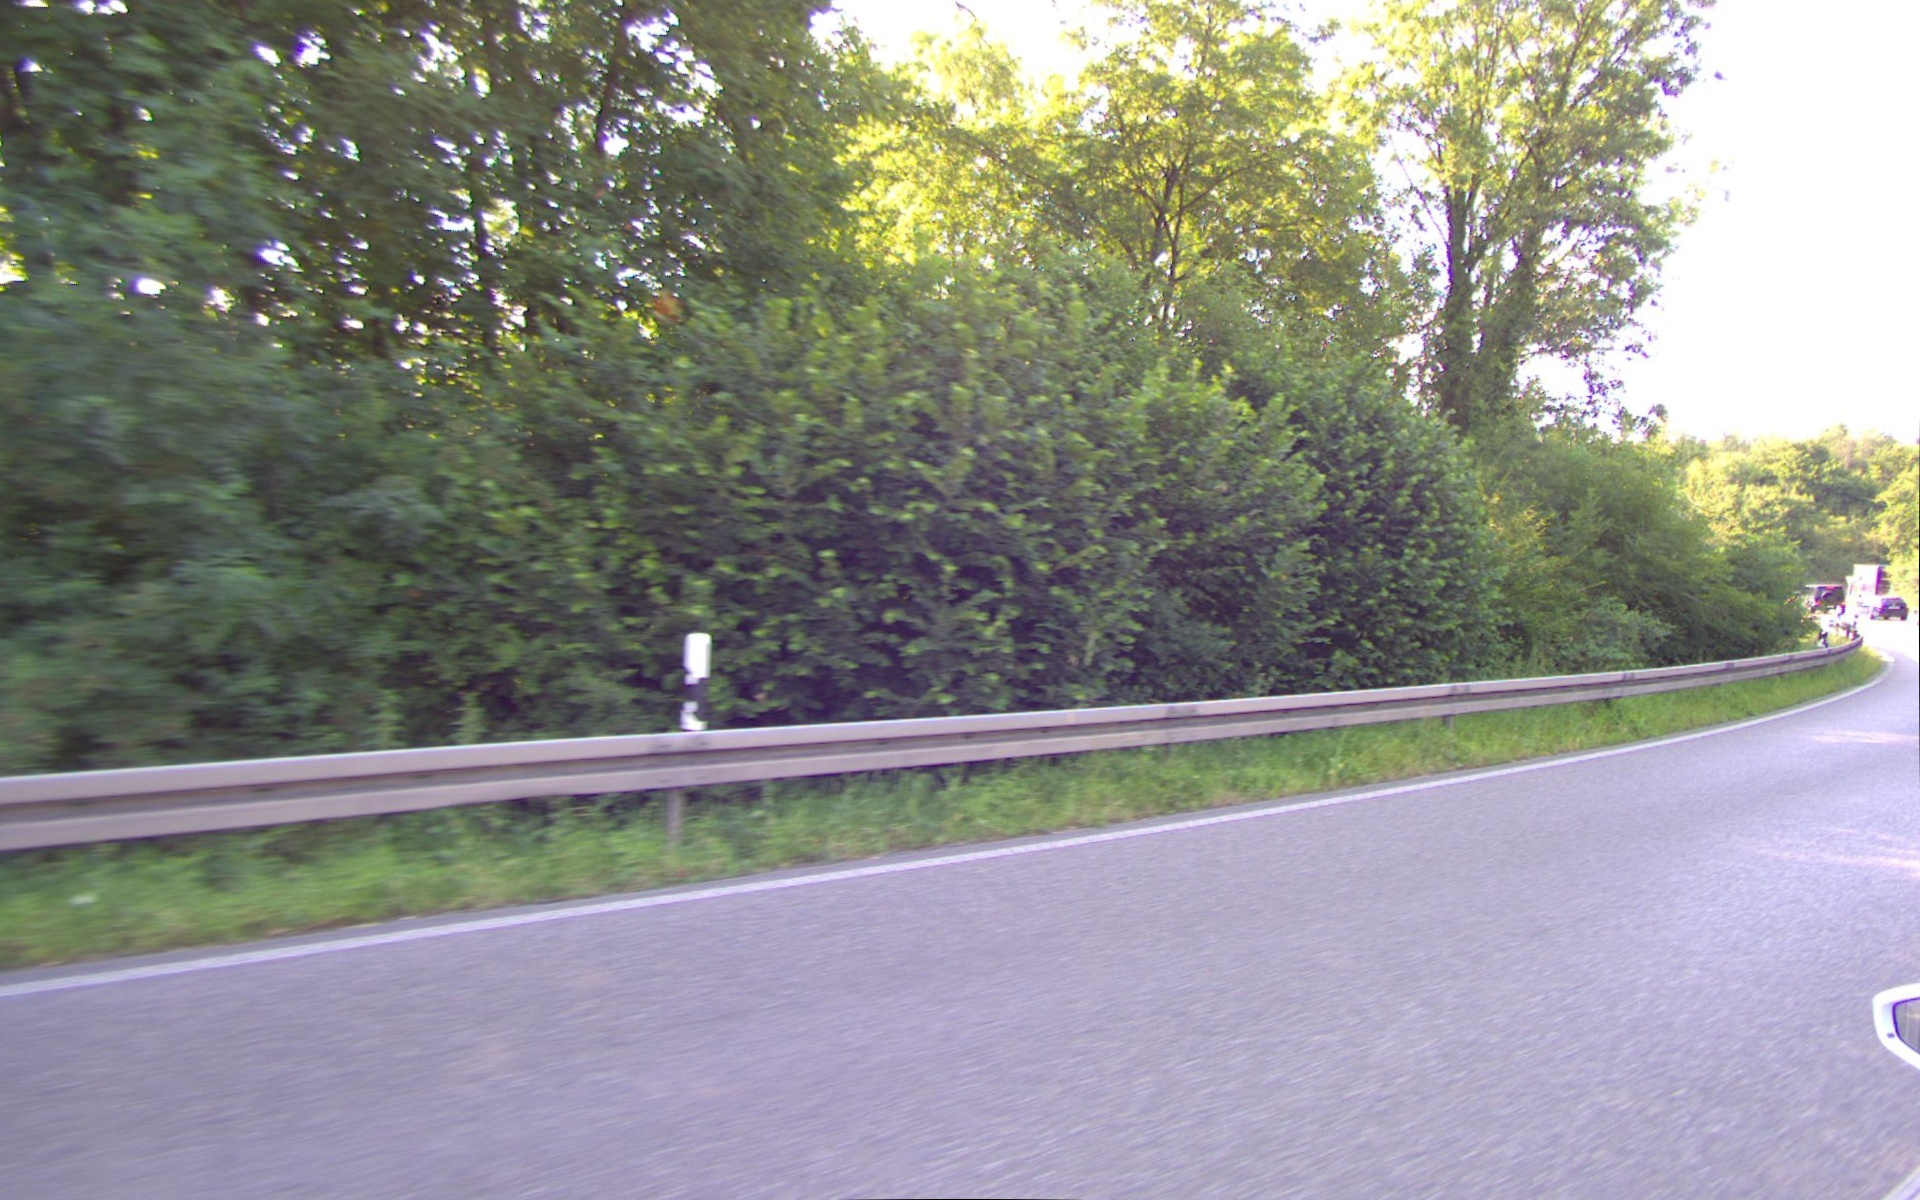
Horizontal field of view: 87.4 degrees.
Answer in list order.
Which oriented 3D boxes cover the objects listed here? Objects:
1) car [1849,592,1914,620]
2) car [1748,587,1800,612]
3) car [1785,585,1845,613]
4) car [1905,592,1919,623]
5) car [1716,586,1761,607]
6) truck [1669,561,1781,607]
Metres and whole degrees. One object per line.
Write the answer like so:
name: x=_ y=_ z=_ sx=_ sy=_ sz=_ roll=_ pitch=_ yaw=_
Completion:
car: x=57.042 y=0.337 z=62.247 sx=1.838 sy=1.586 sz=3.996 roll=1 pitch=1 yaw=25
car: x=63.244 y=-0.038 z=78.122 sx=1.837 sy=1.706 sz=3.998 roll=4 pitch=3 yaw=21
car: x=60.461 y=-0.129 z=71.106 sx=1.924 sy=1.876 sz=3.998 roll=1 pitch=2 yaw=21
car: x=52.586 y=0.482 z=53.676 sx=1.839 sy=1.650 sz=3.995 roll=4 pitch=3 yaw=27
car: x=65.550 y=-0.328 z=84.614 sx=1.837 sy=1.616 sz=3.998 roll=4 pitch=3 yaw=21
truck: x=87.153 y=-1.843 z=114.582 sx=10.038 sy=4.647 sz=3.022 roll=3 pitch=3 yaw=1
